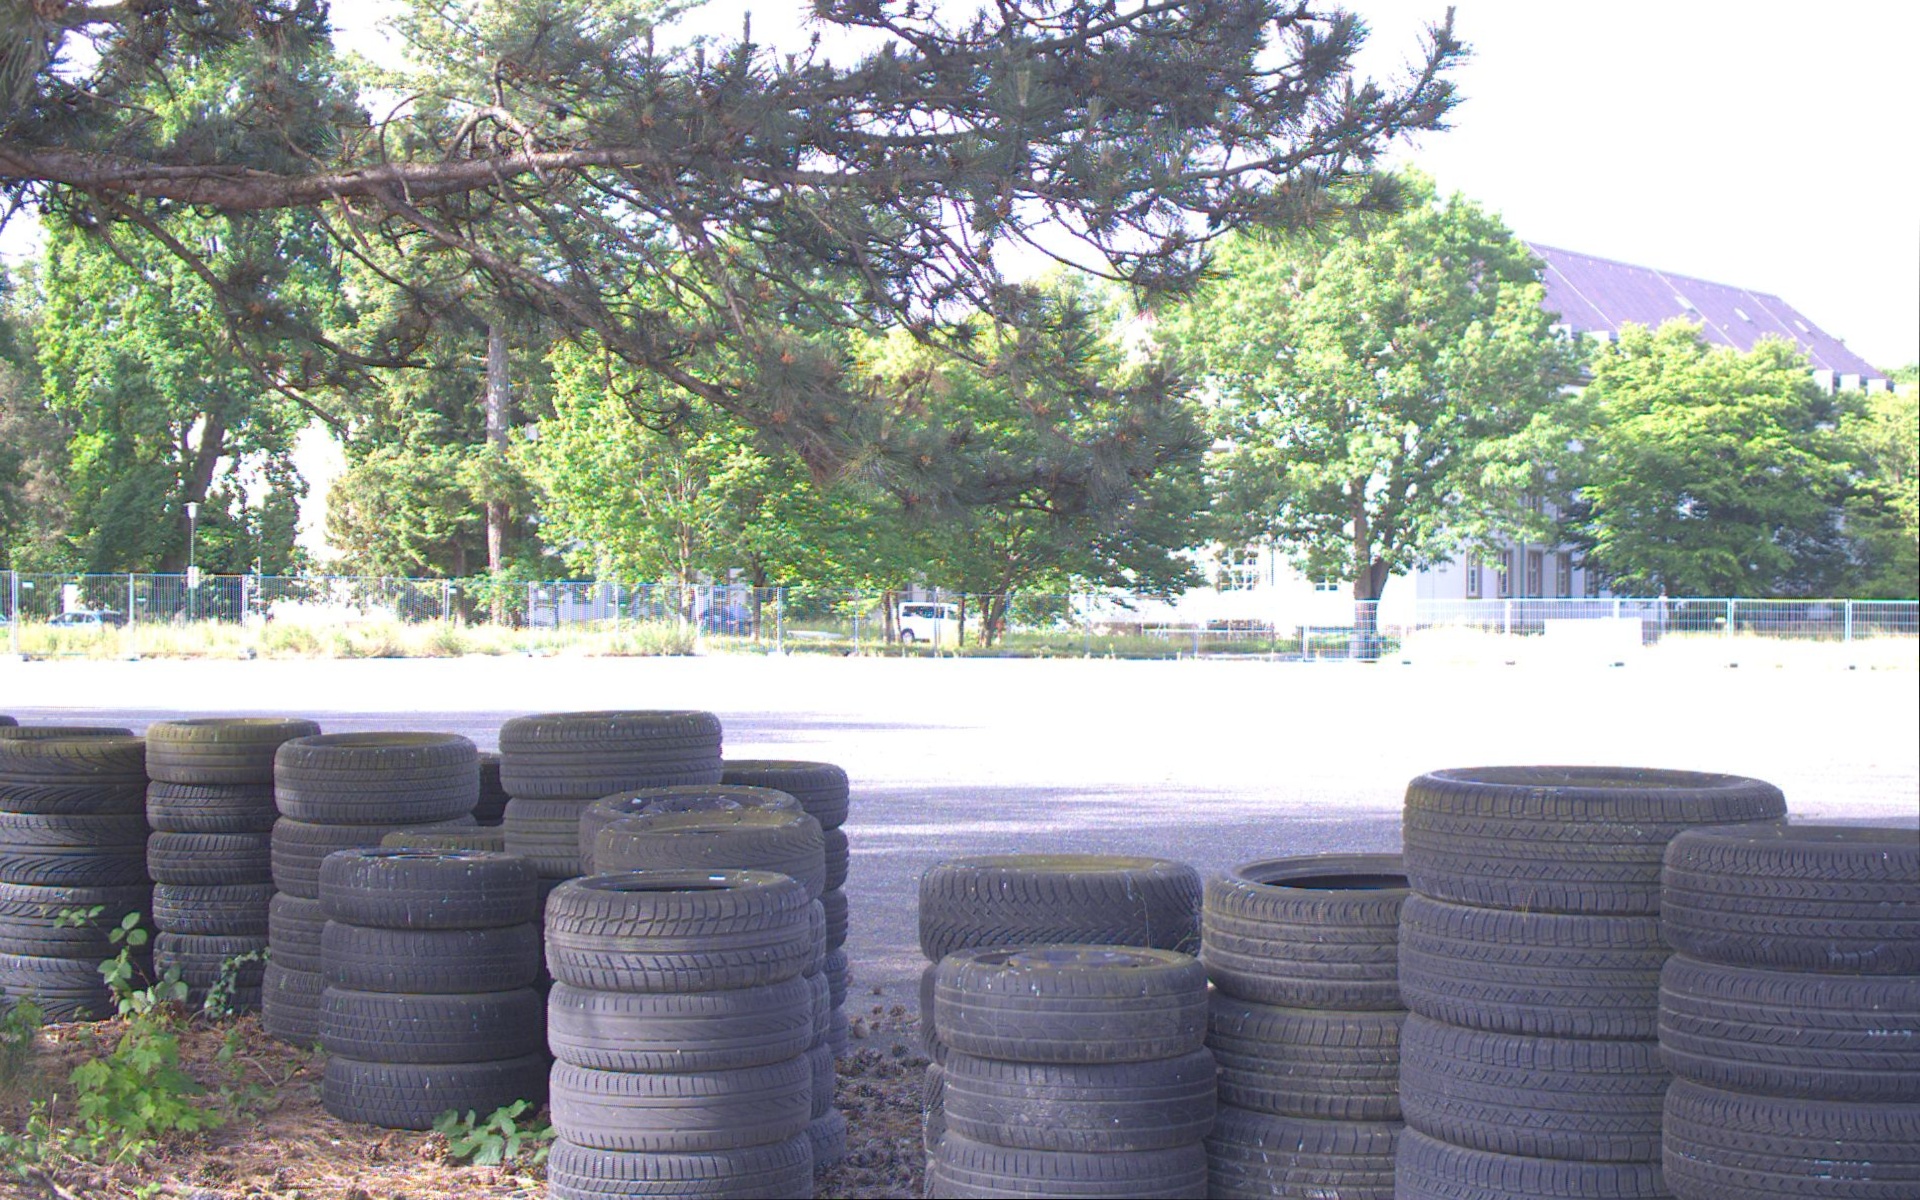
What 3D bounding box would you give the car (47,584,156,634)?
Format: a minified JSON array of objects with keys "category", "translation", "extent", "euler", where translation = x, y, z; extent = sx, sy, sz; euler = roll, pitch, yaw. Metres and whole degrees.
[{"category":"car","translation":[-30.765,0.308,123.180],"extent":[3.997,1.744,1.995],"euler":[0,0,45]}]
